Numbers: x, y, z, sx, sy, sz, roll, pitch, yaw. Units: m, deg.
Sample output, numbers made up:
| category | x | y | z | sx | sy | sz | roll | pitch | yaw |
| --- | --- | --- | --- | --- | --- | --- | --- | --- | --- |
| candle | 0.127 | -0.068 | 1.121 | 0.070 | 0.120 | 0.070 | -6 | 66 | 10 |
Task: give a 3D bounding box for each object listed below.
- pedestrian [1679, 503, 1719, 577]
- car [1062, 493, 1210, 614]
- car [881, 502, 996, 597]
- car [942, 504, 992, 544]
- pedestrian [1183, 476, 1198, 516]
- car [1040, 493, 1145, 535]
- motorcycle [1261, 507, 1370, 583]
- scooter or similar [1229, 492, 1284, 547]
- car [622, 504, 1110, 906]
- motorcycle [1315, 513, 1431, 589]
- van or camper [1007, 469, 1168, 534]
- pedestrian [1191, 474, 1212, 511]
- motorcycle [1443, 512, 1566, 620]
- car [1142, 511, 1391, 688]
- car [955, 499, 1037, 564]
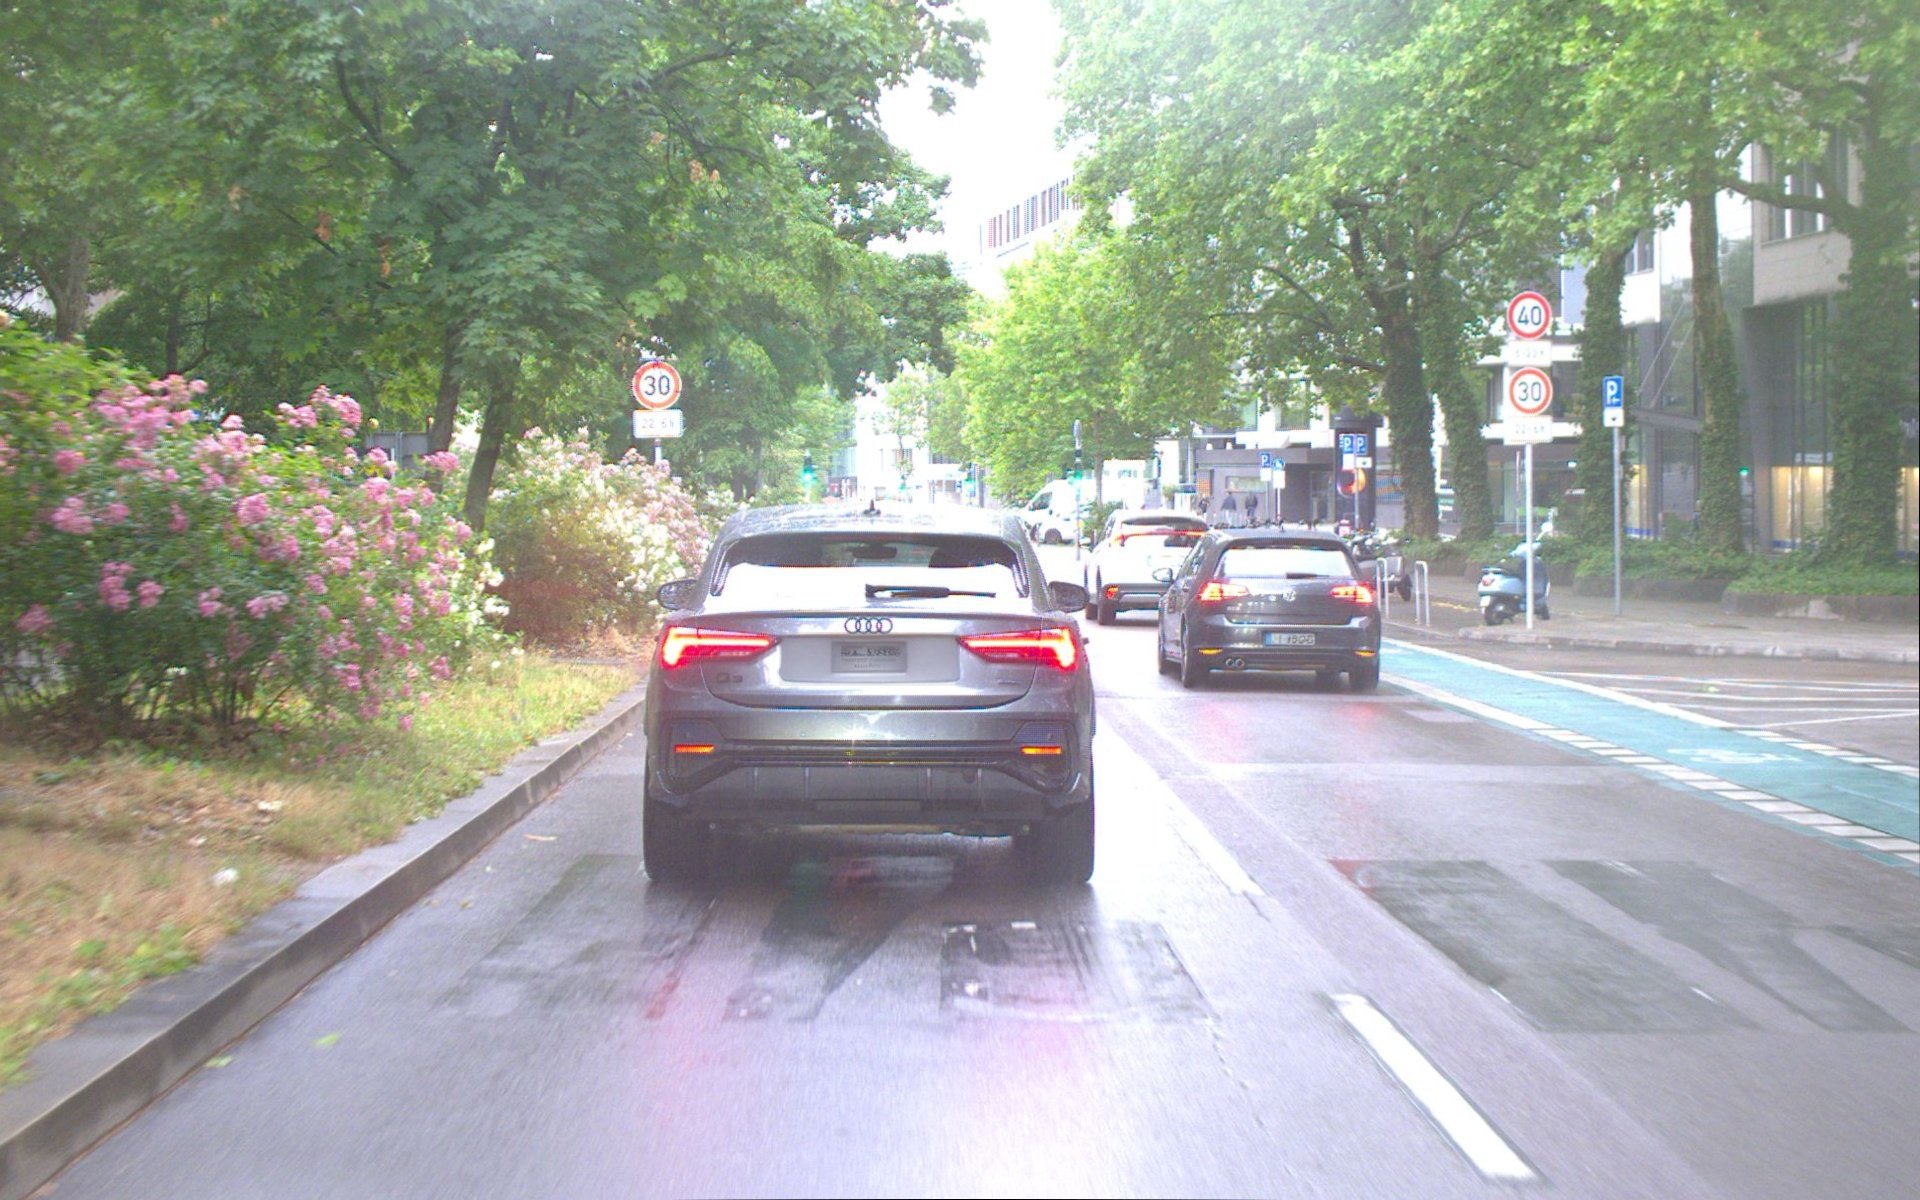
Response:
| category | x | y | z | sx | sy | sz | roll | pitch | yaw |
| --- | --- | --- | --- | --- | --- | --- | --- | --- | --- |
| pedestrian | 18.144 | -1.471 | 84.402 | 0.825 | 1.797 | 0.729 | 1 | 1 | 2 |
| car | 2.506 | -0.695 | 49.785 | 1.849 | 1.663 | 4.039 | 1 | 2 | -1 |
| car | -0.387 | -0.870 | 57.295 | 1.849 | 1.518 | 4.039 | 1 | 2 | -1 |
| car | 0.245 | -2.960 | 133.663 | 1.849 | 1.518 | 4.039 | 1 | 2 | -1 |
| pedestrian | 10.388 | -4.690 | 155.046 | 0.553 | 1.799 | 0.762 | 1 | 1 | -4 |
| car | 5.027 | -3.268 | 130.736 | 3.652 | 1.542 | 1.713 | 1 | 2 | 18 |
| motorcycle | 6.886 | -1.074 | 66.567 | 1.955 | 1.369 | 0.729 | -2 | 3 | -22 |
| scooter or similar | 7.131 | -1.937 | 82.675 | 1.289 | 1.274 | 0.537 | -1 | 3 | 3 |
| car | -0.427 | 0.347 | 15.138 | 1.849 | 1.518 | 4.039 | 1 | 2 | -2 |
| motorcycle | 7.169 | -0.854 | 59.644 | 2.054 | 1.208 | 0.685 | -4 | 2 | -36 |
| van or camper | 5.067 | -3.926 | 136.586 | 6.074 | 2.549 | 2.102 | 1 | 2 | 26 |
| pedestrian | 11.054 | -4.912 | 157.258 | 0.805 | 1.690 | 1.187 | 1 | 1 | -2 |
| motorcycle | 7.349 | -0.467 | 46.370 | 0.684 | 1.362 | 1.941 | -2 | 1 | 39 |
| car | 2.768 | -0.056 | 31.862 | 1.849 | 1.518 | 4.039 | 1 | 2 | -1 |
| car | 0.838 | -1.657 | 82.701 | 1.849 | 1.518 | 4.039 | 1 | 2 | -1 |
